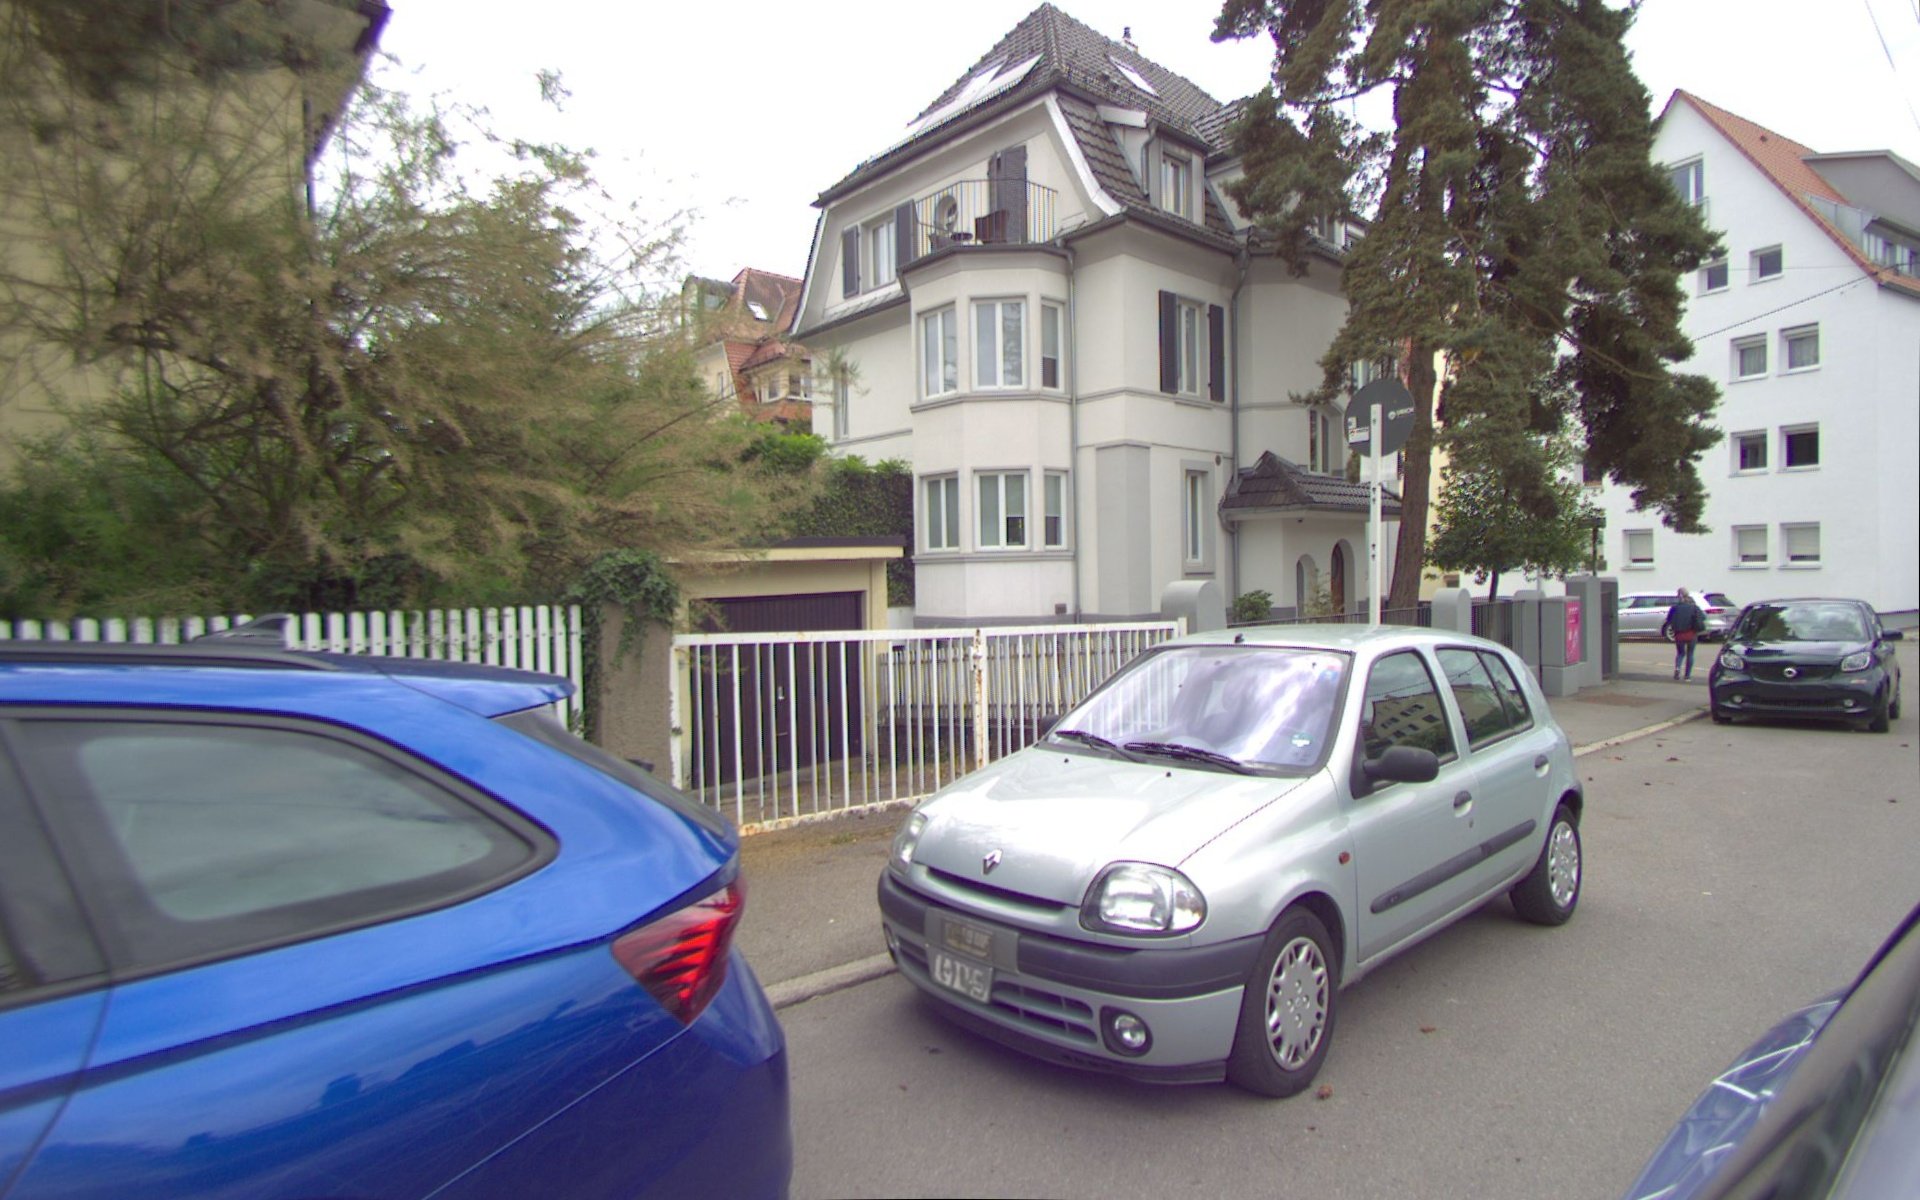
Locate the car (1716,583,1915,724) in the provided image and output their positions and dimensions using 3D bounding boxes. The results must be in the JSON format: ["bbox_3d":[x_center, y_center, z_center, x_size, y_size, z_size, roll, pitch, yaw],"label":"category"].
[{"bbox_3d":[10.753,0.614,12.676,2.820,1.552,1.572,0,-2,-44],"label":"car"}]

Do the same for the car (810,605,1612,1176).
[{"bbox_3d":[1.308,0.759,4.363,3.592,1.418,1.576,0,-1,-41],"label":"car"}]

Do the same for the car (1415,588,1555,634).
[{"bbox_3d":[17.880,0.380,34.650,1.702,1.440,4.006,-1,-1,-25],"label":"car"}]

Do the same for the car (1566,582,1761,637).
[{"bbox_3d":[20.400,0.282,29.558,1.728,1.468,4.364,-1,0,-28],"label":"car"}]

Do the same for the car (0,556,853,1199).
[{"bbox_3d":[-2.220,0.721,1.077,3.982,1.477,1.650,-1,-1,-41],"label":"car"}]

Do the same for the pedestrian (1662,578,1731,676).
[{"bbox_3d":[12.734,0.441,17.508,0.889,1.596,0.683,-2,3,-35],"label":"pedestrian"}]
